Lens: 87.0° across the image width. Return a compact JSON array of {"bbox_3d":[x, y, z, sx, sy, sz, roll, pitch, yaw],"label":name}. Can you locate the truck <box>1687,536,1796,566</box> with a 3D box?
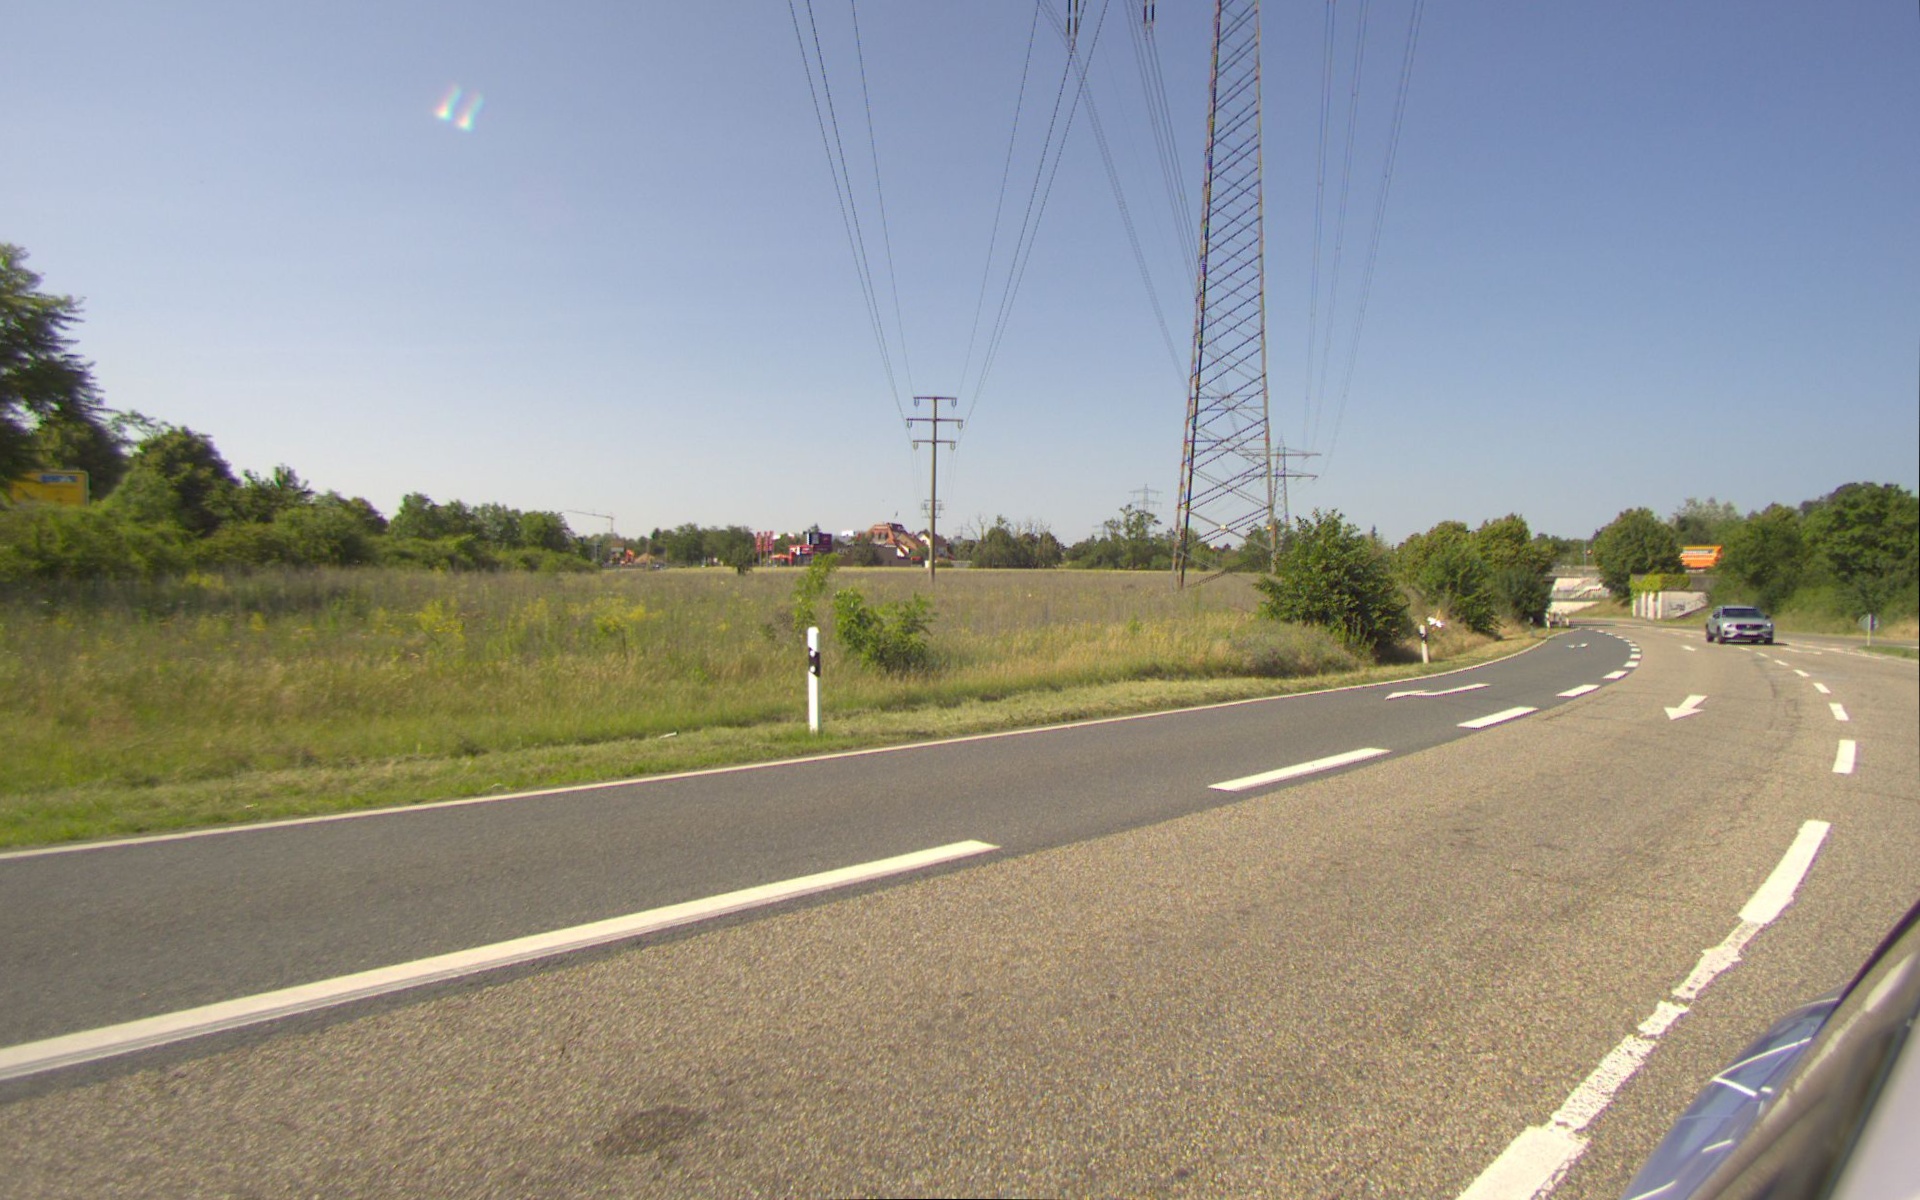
[{"bbox_3d":[98.142,-6.089,127.371,2.117,3.224,11.305,0,0,-22],"label":"truck"}]

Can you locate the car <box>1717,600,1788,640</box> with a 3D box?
[{"bbox_3d":[34.019,0.827,43.545,1.844,1.640,3.610,1,0,29],"label":"car"}]
